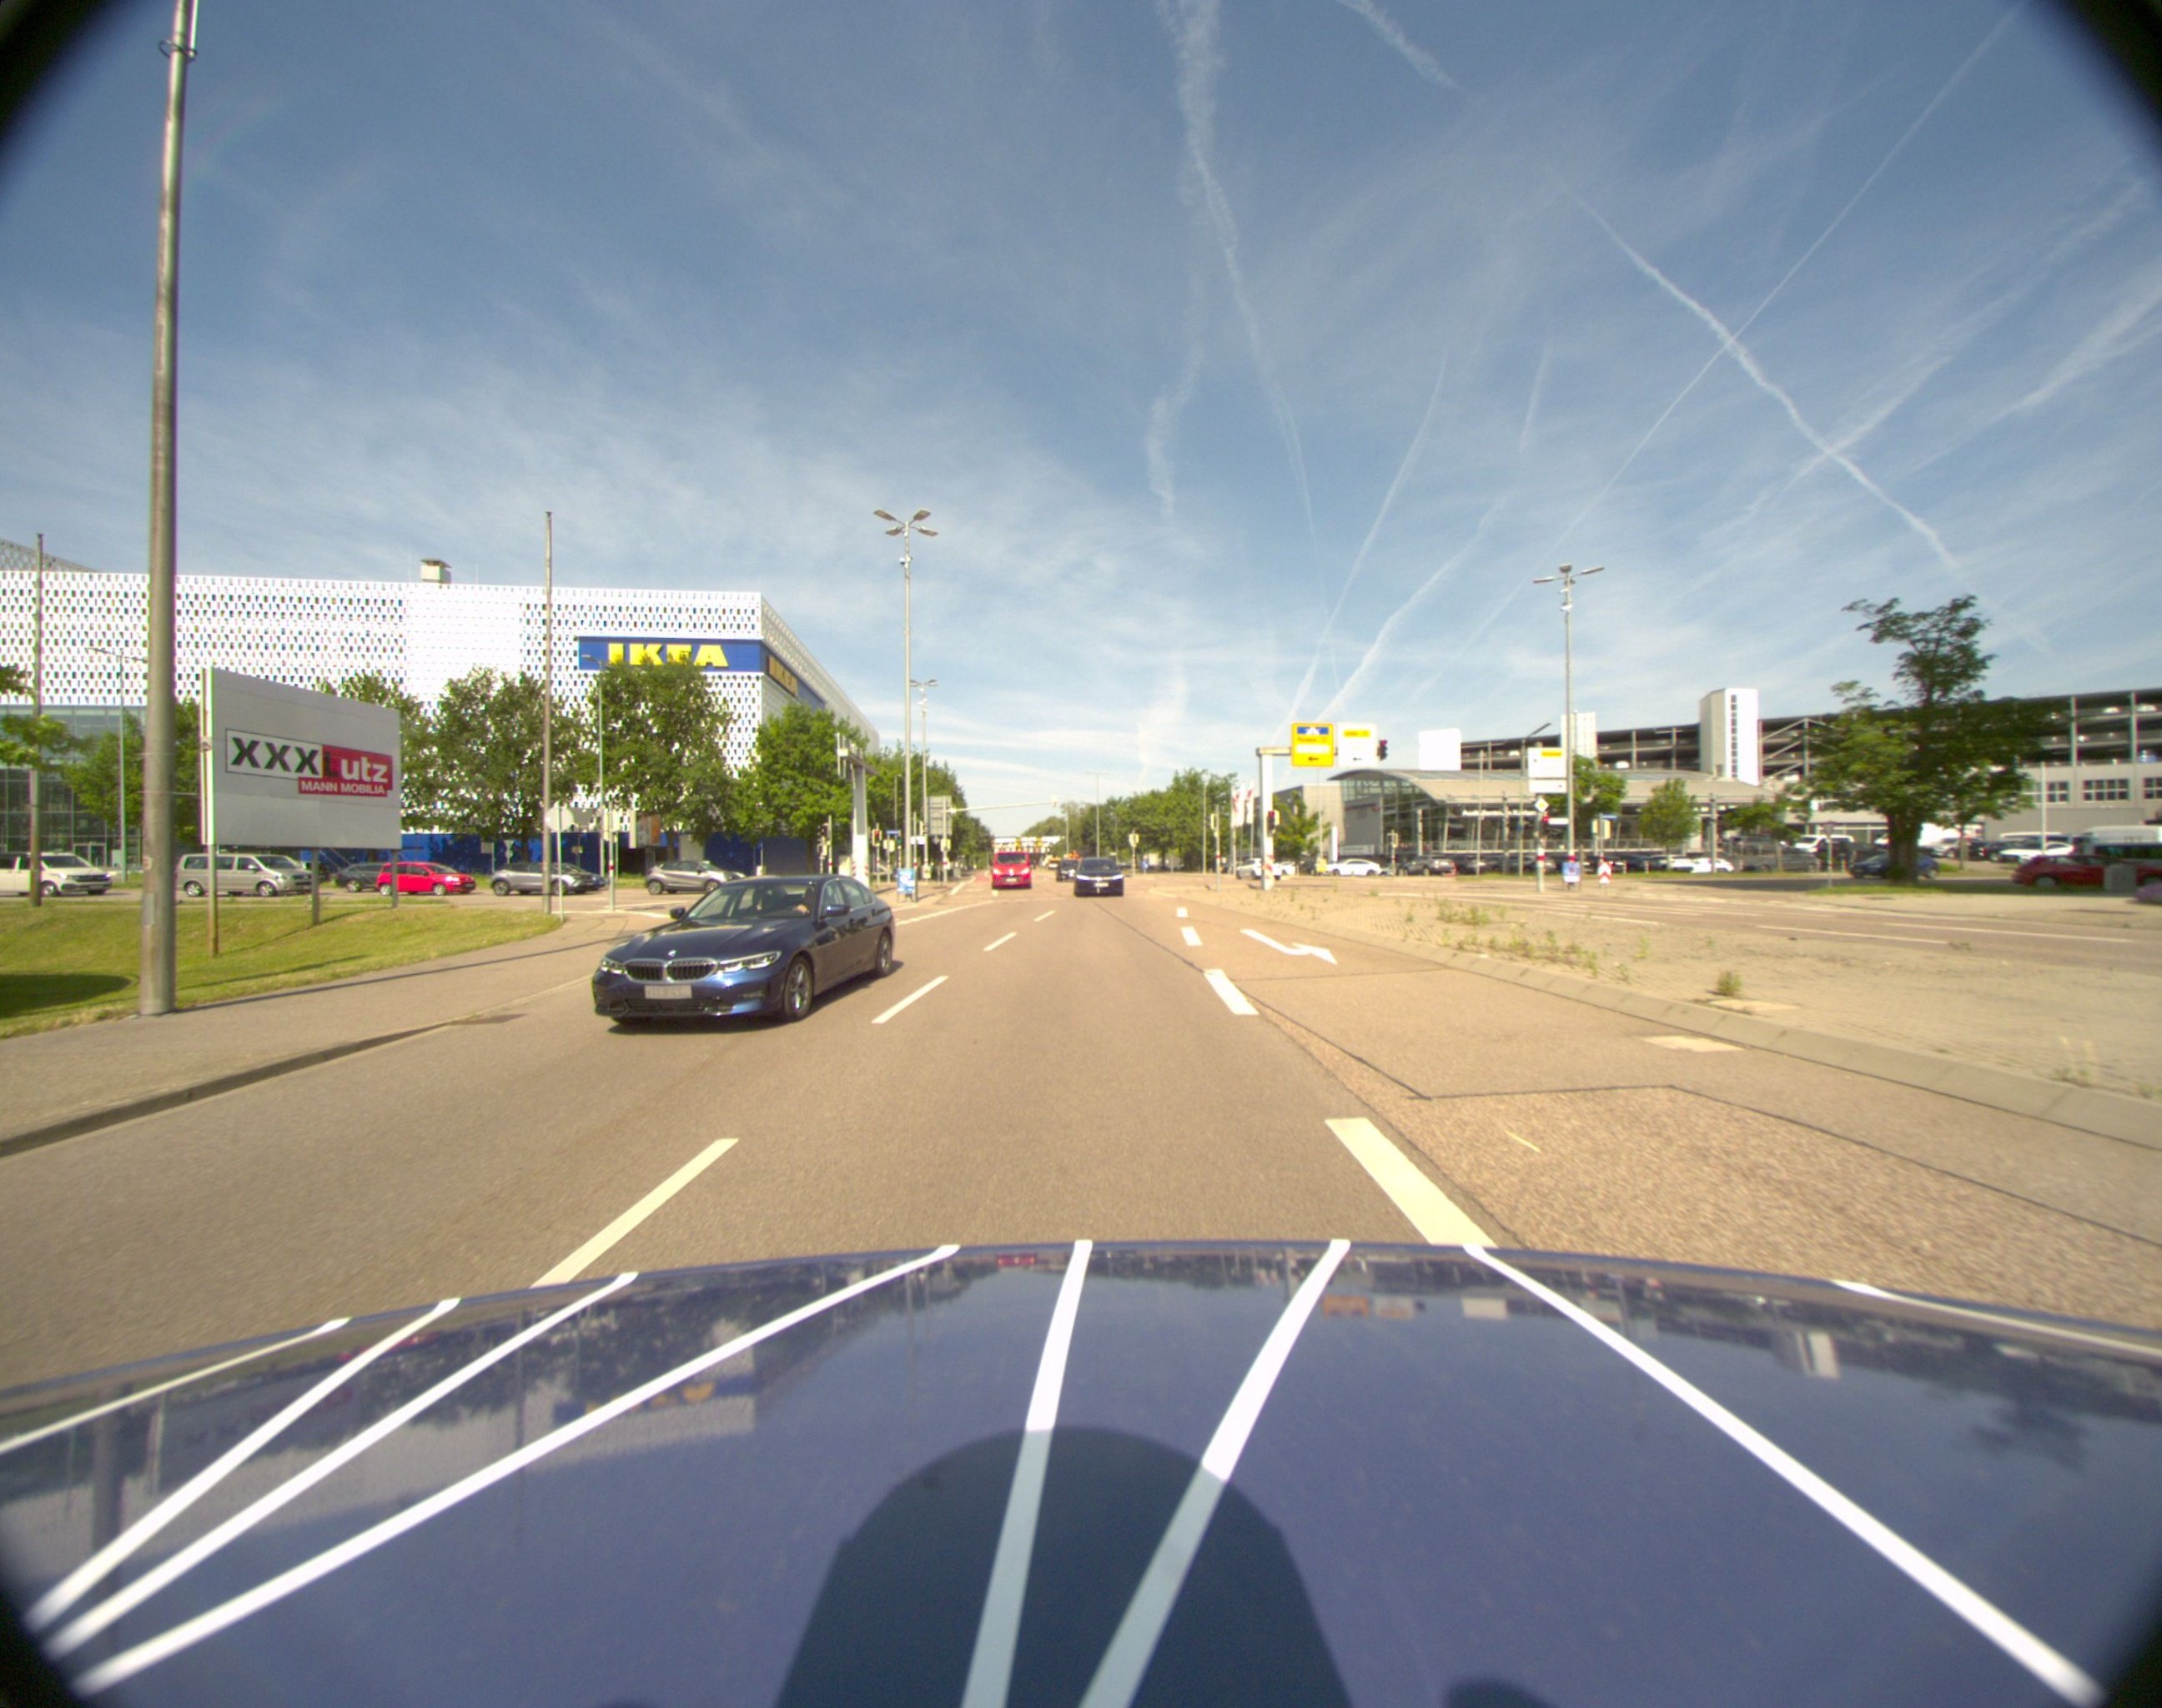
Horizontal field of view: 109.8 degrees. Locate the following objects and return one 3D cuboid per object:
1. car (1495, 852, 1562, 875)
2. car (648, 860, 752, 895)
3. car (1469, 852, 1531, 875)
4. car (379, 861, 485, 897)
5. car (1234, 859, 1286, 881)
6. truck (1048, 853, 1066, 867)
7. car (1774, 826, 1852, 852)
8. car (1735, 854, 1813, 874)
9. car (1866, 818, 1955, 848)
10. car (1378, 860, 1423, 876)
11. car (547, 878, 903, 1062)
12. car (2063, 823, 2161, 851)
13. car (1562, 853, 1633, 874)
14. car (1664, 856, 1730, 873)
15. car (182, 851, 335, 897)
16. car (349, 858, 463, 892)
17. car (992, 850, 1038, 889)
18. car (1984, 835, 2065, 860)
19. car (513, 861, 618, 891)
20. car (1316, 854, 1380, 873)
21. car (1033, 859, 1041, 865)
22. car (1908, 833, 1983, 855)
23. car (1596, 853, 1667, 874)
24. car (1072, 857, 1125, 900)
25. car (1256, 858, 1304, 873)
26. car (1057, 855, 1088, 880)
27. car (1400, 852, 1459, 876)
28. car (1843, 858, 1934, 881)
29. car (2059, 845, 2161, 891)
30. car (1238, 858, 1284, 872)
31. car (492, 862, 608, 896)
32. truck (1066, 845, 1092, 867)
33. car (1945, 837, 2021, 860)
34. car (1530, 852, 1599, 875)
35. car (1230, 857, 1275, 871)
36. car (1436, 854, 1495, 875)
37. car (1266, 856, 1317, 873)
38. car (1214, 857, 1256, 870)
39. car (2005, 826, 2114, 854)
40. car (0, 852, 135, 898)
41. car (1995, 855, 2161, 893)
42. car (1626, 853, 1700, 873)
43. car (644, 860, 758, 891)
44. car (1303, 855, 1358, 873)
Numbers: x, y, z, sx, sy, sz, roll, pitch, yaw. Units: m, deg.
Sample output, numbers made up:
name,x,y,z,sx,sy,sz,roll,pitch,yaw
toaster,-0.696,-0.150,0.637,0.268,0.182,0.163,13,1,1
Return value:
name,x,y,z,sx,sy,sz,roll,pitch,yaw
car,33.543,0.761,57.150,1.793,1.496,4.776,-1,-3,-7
car,-17.764,1.075,35.545,3.895,1.549,1.808,-1,0,-2
car,31.061,0.744,56.444,1.793,1.534,4.375,-1,-3,-7
car,-30.112,1.126,35.312,3.479,1.566,1.598,-1,0,-2
car,11.915,1.054,50.919,1.788,1.452,4.330,1,-1,-11
truck,-4.818,1.265,152.409,2.383,2.609,6.666,-2,-1,-12
car,58.336,-1.246,60.591,4.547,1.898,2.086,-2,4,-9
car,52.734,0.747,57.892,4.018,1.433,1.800,-1,0,20
car,69.385,-1.751,63.630,5.550,2.328,2.088,-2,-1,-6
car,29.949,1.291,71.337,3.519,1.464,1.659,-1,0,-8
car,-3.546,1.061,8.701,1.799,1.420,4.539,-1,0,2
car,79.739,-1.236,58.495,2.000,2.002,4.748,-1,0,-8
car,39.002,0.762,57.475,1.793,1.433,4.631,-1,-3,-7
car,52.279,0.885,64.597,4.018,1.433,1.801,-1,0,22
car,-37.573,0.901,34.814,4.687,1.964,1.961,-1,1,-3
car,-33.728,1.034,38.053,4.128,1.610,1.683,-1,0,-1
car,-3.382,0.773,39.637,2.014,1.896,4.809,-1,0,-1
car,69.891,-0.472,56.302,3.986,1.565,1.999,-3,0,-9
car,-26.027,1.094,38.447,4.056,1.334,1.723,-1,1,-4
car,20.882,0.734,59.551,4.385,1.423,1.899,-1,0,-5
car,-12.441,2.258,214.485,1.852,1.451,4.661,1,-1,-8
car,69.598,-0.780,61.186,3.985,1.565,1.999,-2,0,-6
car,41.735,0.753,57.707,1.793,1.433,4.401,-1,-2,-7
car,0.602,0.920,29.661,1.848,1.530,4.000,1,-1,-2
car,19.011,1.097,72.533,3.999,1.311,1.867,2,-1,-7
car,-0.573,0.883,50.096,1.561,1.499,3.837,-2,0,-7
car,25.567,0.756,55.986,1.819,1.603,4.595,-1,-3,-6
car,48.399,0.933,45.575,3.802,1.282,1.659,-1,0,-2
car,43.507,0.542,30.550,4.801,1.810,1.902,-2,-1,40
car,18.490,1.113,77.935,4.188,1.327,1.853,2,-1,-7
car,-24.726,1.139,35.498,4.040,1.500,1.907,0,1,-4
truck,-0.427,0.280,131.162,2.757,3.658,7.570,-1,0,-14
car,69.562,-0.419,58.628,3.986,1.565,1.999,-2,0,-9
car,36.397,0.760,57.304,1.784,1.507,4.673,-1,-3,-7
car,18.212,1.052,80.897,4.294,1.346,1.829,2,0,-8
car,28.267,0.808,56.008,1.793,1.433,4.199,-1,-3,-7
car,19.379,0.968,69.932,4.085,1.362,1.877,2,-1,-7
car,17.451,1.083,86.254,4.229,1.386,1.801,2,0,-7
car,74.439,-1.026,57.907,2.000,2.002,4.748,-1,0,-8
car,-46.389,0.943,34.245,4.788,1.925,1.913,-1,1,-3
car,39.658,0.779,30.193,4.019,1.407,1.812,-2,-1,41
car,44.426,0.724,58.113,1.793,1.433,4.558,-1,-2,-7
car,-19.166,1.060,38.501,4.730,1.417,1.958,-1,1,-3
car,20.346,0.821,61.997,3.847,1.394,1.763,-1,0,-8
